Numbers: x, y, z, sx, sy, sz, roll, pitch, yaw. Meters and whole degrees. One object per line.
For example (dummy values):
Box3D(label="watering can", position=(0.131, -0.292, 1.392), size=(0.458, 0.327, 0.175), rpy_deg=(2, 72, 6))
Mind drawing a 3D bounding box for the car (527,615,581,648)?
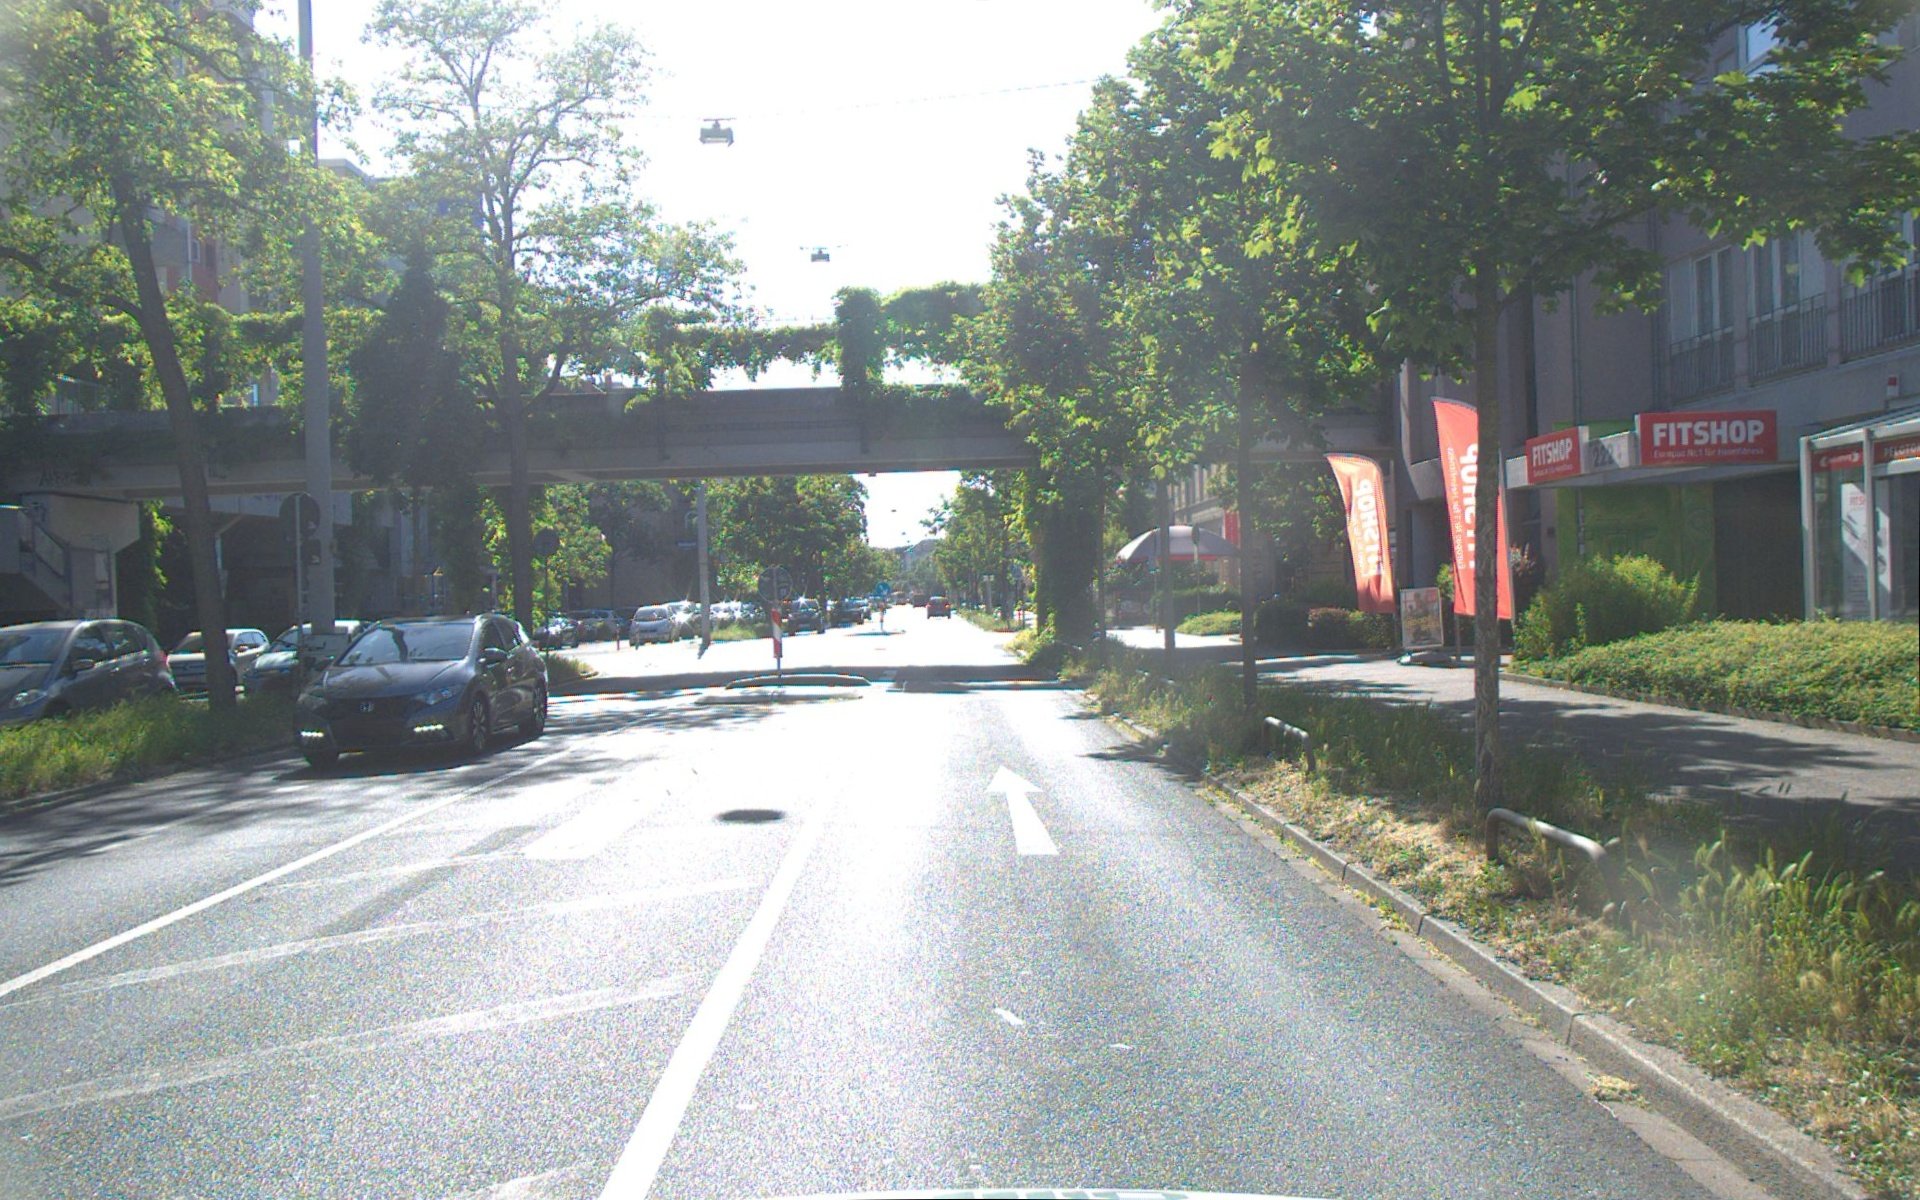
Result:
Box3D(label="car", position=(-20.559, 1.578, 83.868), size=(1.818, 1.549, 4.317), rpy_deg=(-1, 0, -2))

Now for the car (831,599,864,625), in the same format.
Box3D(label="car", position=(-6.869, 0.708, 101.426), size=(1.818, 1.549, 4.317), rpy_deg=(-1, 0, -2))

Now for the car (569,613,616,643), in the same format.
Box3D(label="car", position=(-20.565, 1.544, 92.648), size=(1.818, 1.549, 4.317), rpy_deg=(-1, 0, -2))

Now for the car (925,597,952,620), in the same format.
Box3D(label="car", position=(-1.493, 0.564, 116.924), size=(1.817, 1.549, 4.319), rpy_deg=(-1, 0, 0))

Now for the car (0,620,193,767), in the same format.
Box3D(label="car", position=(-11.353, 1.091, 20.586), size=(1.818, 1.595, 3.871), rpy_deg=(-1, 0, -1))

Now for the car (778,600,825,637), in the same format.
Box3D(label="car", position=(-6.985, 0.805, 73.255), size=(1.818, 1.549, 4.317), rpy_deg=(-1, 0, -2))

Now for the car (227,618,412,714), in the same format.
Box3D(label="car", position=(-11.598, 1.144, 30.275), size=(1.818, 1.549, 4.317), rpy_deg=(-1, 0, -2))

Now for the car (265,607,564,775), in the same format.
Box3D(label="car", position=(-5.779, 0.889, 18.105), size=(1.818, 1.465, 4.318), rpy_deg=(-4, 0, -1))

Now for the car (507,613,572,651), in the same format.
Box3D(label="car", position=(-18.211, 1.359, 71.744), size=(1.818, 1.549, 4.317), rpy_deg=(-1, 0, -2))

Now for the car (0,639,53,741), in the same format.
Box3D(label="car", position=(-15.980, 1.474, 25.386), size=(1.818, 1.549, 4.317), rpy_deg=(-2, 0, -2))

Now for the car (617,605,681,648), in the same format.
Box3D(label="car", position=(-11.992, 0.985, 64.022), size=(1.818, 1.549, 4.075), rpy_deg=(-1, 0, -2))

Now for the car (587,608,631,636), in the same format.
Box3D(label="car", position=(-20.919, 1.308, 98.598), size=(1.818, 1.549, 4.317), rpy_deg=(-1, 0, -2))

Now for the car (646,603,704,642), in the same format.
Box3D(label="car", position=(-12.099, 0.915, 70.453), size=(1.818, 1.549, 4.317), rpy_deg=(-1, 0, -2))

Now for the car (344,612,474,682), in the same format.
Box3D(label="car", position=(-11.416, 0.942, 34.491), size=(1.600, 1.330, 3.581), rpy_deg=(-1, 0, -2))
